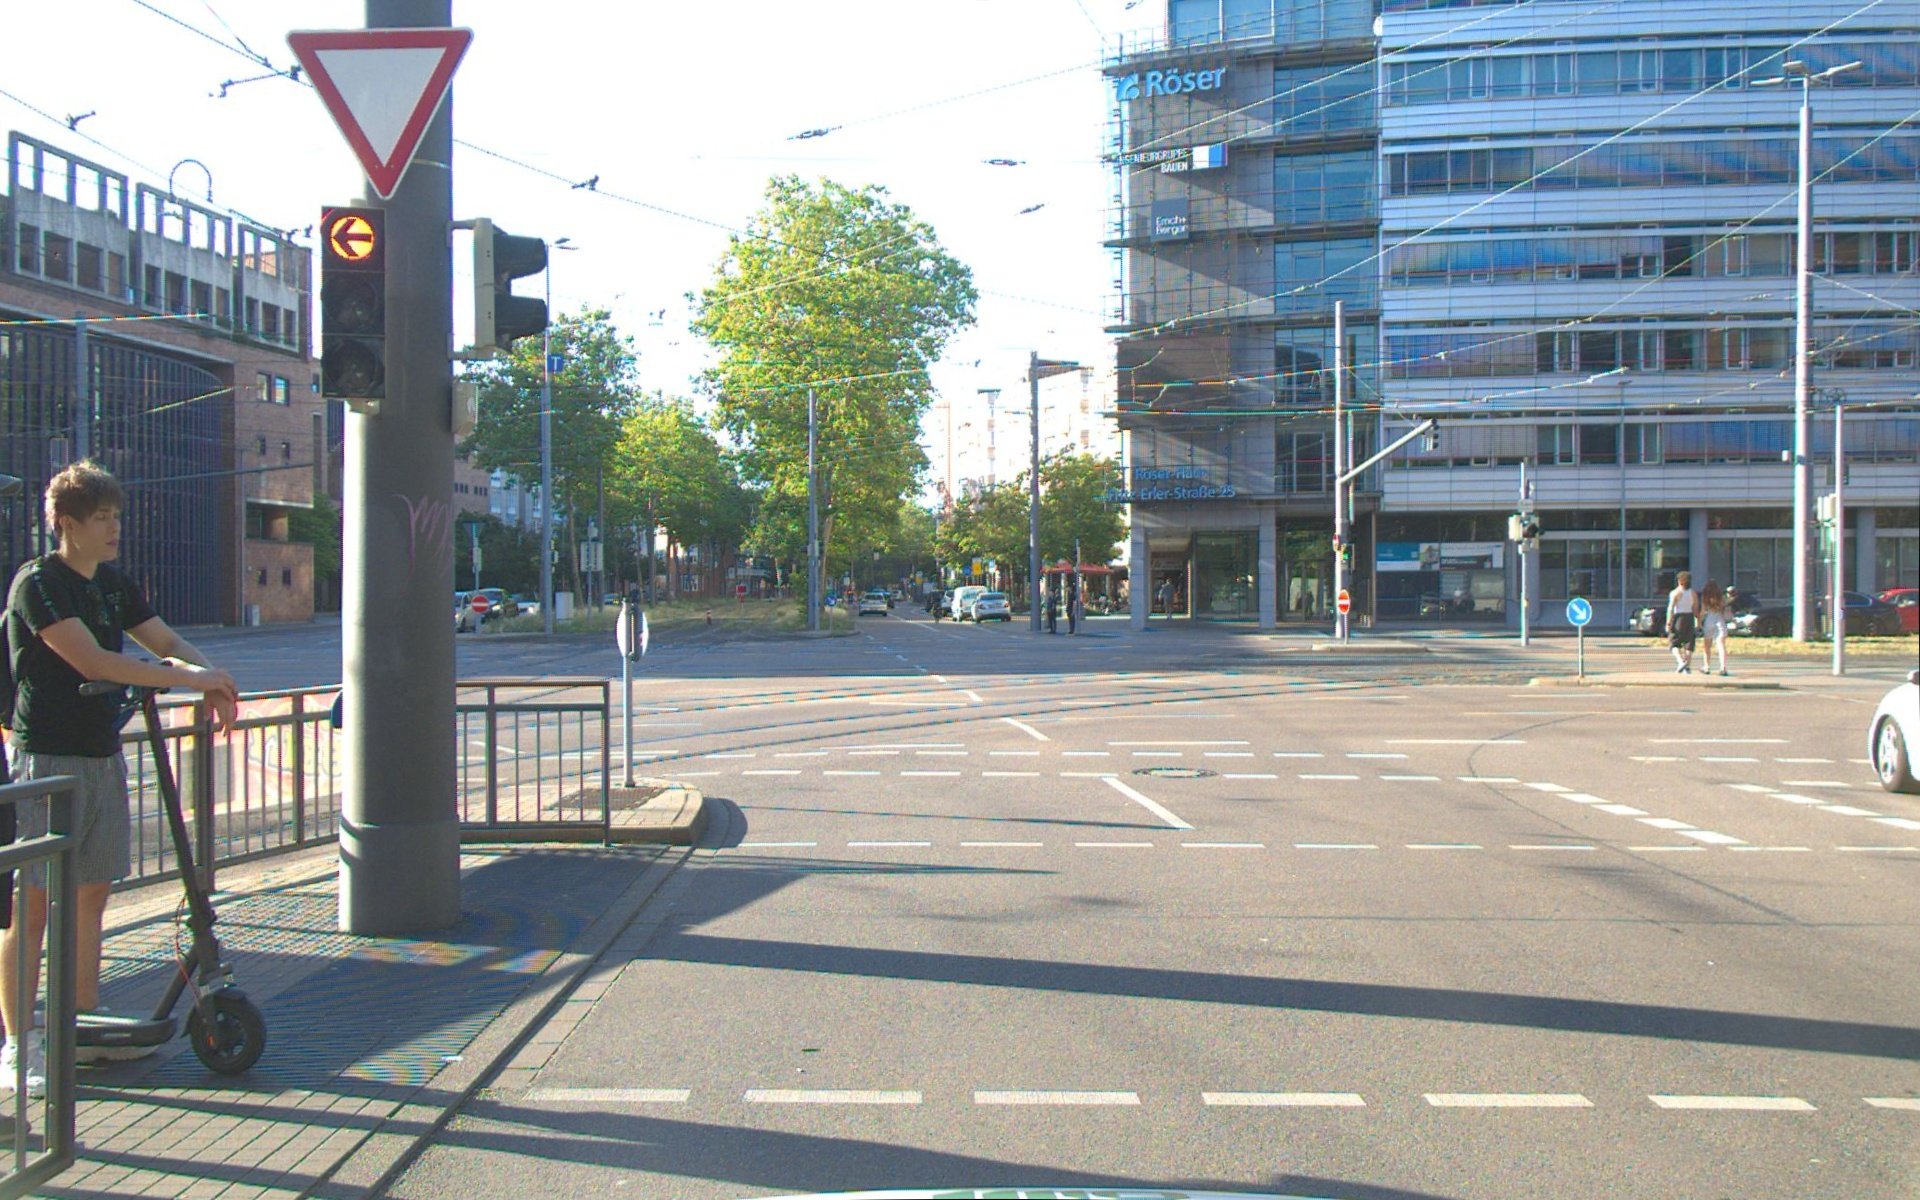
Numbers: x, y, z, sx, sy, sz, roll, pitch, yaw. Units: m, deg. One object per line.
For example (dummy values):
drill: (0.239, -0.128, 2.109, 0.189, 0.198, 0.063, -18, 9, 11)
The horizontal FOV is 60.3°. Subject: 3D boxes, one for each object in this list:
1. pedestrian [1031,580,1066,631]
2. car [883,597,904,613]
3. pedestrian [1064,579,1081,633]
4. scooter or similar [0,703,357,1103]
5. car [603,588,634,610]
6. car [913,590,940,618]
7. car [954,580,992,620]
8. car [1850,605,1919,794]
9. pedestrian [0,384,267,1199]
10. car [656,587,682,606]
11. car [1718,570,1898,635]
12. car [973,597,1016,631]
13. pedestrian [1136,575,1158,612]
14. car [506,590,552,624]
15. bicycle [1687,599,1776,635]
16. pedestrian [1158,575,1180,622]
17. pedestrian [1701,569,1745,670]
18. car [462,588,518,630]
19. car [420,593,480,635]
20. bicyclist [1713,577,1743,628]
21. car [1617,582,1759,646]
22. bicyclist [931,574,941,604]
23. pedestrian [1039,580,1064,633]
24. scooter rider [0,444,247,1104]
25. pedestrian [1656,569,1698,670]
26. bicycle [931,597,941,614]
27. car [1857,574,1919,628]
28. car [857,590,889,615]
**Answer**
pedestrian: (3.503, 0.225, 65.864, 1.315, 1.984, 1.011, 0, 0, -1)
car: (-6.093, 0.441, 150.530, 1.729, 1.429, 4.292, 0, 0, -5)
pedestrian: (4.262, 0.232, 62.853, 0.574, 2.049, 0.620, 1, -1, 0)
scooter or similar: (-2.571, 0.893, 5.081, 1.177, 1.100, 0.648, -1, 0, 3)
car: (-29.708, -0.112, 144.108, 1.871, 1.814, 3.999, -1, 0, -1)
car: (-2.546, 0.322, 126.566, 1.953, 2.049, 3.999, 1, 0, -1)
car: (0.679, 0.001, 89.634, 1.953, 2.049, 3.999, 1, 0, -1)
car: (8.161, 0.785, 11.997, 1.600, 1.453, 3.989, 1, 0, 6)
pedestrian: (-2.546, 0.474, 4.220, 1.143, 1.917, 0.855, -1, 0, 4)
car: (-28.445, -0.345, 161.799, 1.807, 1.814, 3.999, -1, 0, -1)
car: (24.091, 0.071, 47.088, 4.165, 1.753, 1.885, -1, 0, 2)
car: (1.715, 0.679, 82.798, 1.988, 1.624, 3.999, 1, 0, -1)
pedestrian: (11.458, -0.374, 101.611, 1.285, 2.228, 1.171, 1, 0, 5)
car: (-21.438, 0.339, 82.445, 1.644, 1.635, 3.994, 1, 0, -7)
bicycle: (23.237, 0.500, 49.834, 2.359, 1.040, 0.637, -1, 0, 4)
pedestrian: (9.210, -0.060, 72.874, 0.852, 2.049, 0.793, 1, -2, -1)
pedestrian: (13.624, 0.341, 29.546, 0.669, 1.789, 0.742, -1, 0, 22)
car: (-21.180, 0.402, 74.720, 1.787, 1.821, 3.994, -1, 0, -7)
car: (-20.612, 0.538, 66.975, 1.591, 1.604, 3.994, -1, 0, -7)
bicyclist: (23.140, 0.069, 49.834, 0.649, 1.529, 0.613, -1, 0, 4)
car: (24.415, 0.473, 55.572, 3.906, 2.049, 2.000, 1, 0, -1)
bicyclist: (-1.175, -0.540, 80.219, 0.477, 1.465, 0.615, 1, -1, -1)
pedestrian: (3.556, 0.254, 64.343, 0.832, 2.049, 0.707, 1, -1, -5)
scooter rider: (-2.635, 0.504, 5.091, 0.554, 1.885, 0.680, -1, -2, 4)
pedestrian: (12.946, 0.343, 29.865, 0.664, 1.789, 0.741, -1, 0, 25)
bicycle: (-1.177, 0.275, 80.260, 0.481, 0.802, 1.861, 1, 0, -1)
car: (29.384, 0.061, 49.644, 3.903, 1.579, 1.798, 1, 0, 4)
car: (-5.458, 0.139, 104.210, 1.712, 1.443, 4.001, 1, 1, 1)
